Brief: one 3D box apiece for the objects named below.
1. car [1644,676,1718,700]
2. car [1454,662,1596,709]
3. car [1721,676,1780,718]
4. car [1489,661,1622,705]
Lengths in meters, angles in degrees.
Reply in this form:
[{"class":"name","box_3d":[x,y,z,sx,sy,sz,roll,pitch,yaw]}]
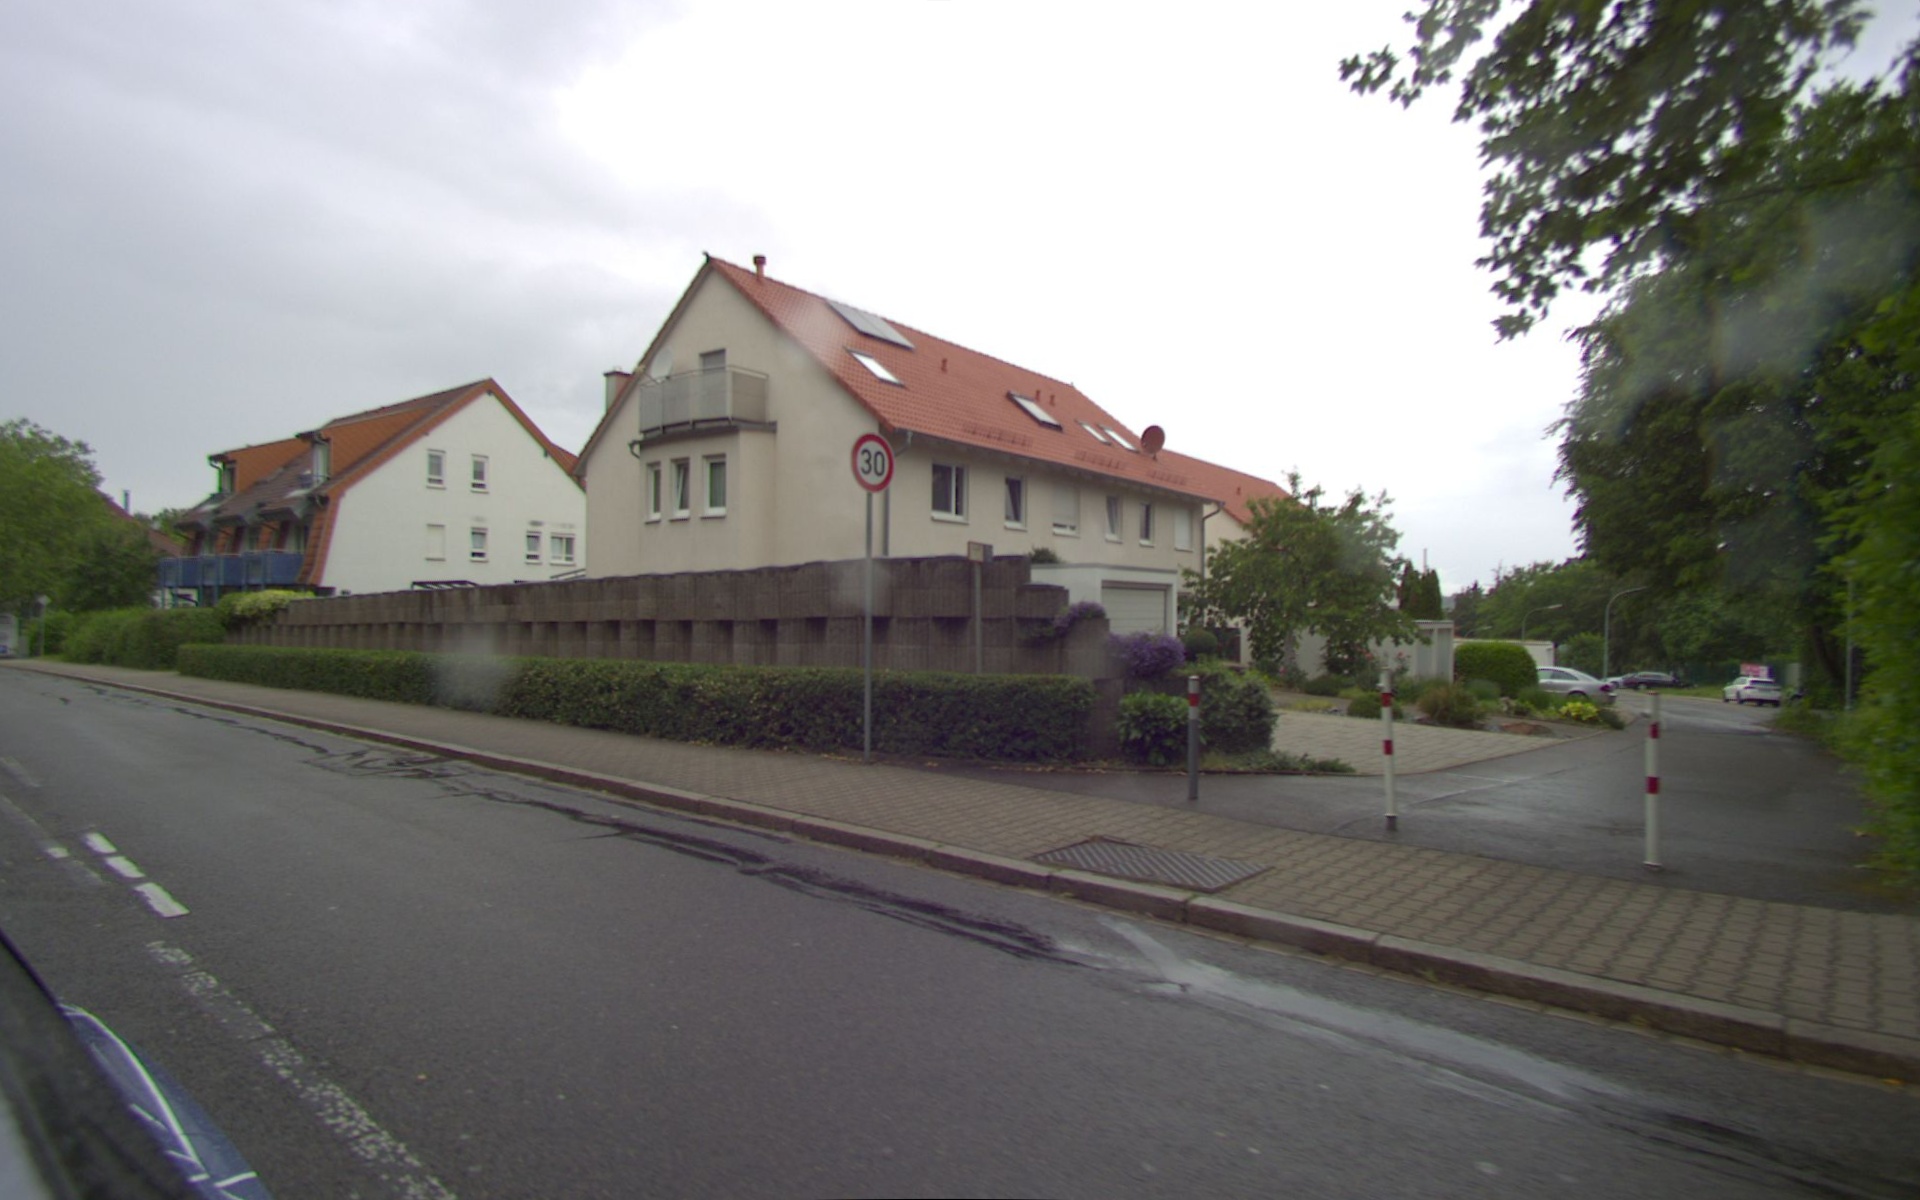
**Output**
[{"class":"car","box_3d":[48.067,5.868,67.544,3.991,1.409,1.856,-1,-3,35]},{"class":"car","box_3d":[18.975,2.841,34.052,3.991,1.409,1.856,-1,-3,35]},{"class":"car","box_3d":[42.138,5.145,54.037,1.871,2.003,3.960,-1,-3,29]},{"class":"car","box_3d":[21.350,2.920,36.323,3.991,1.409,1.856,-1,-3,35]}]
